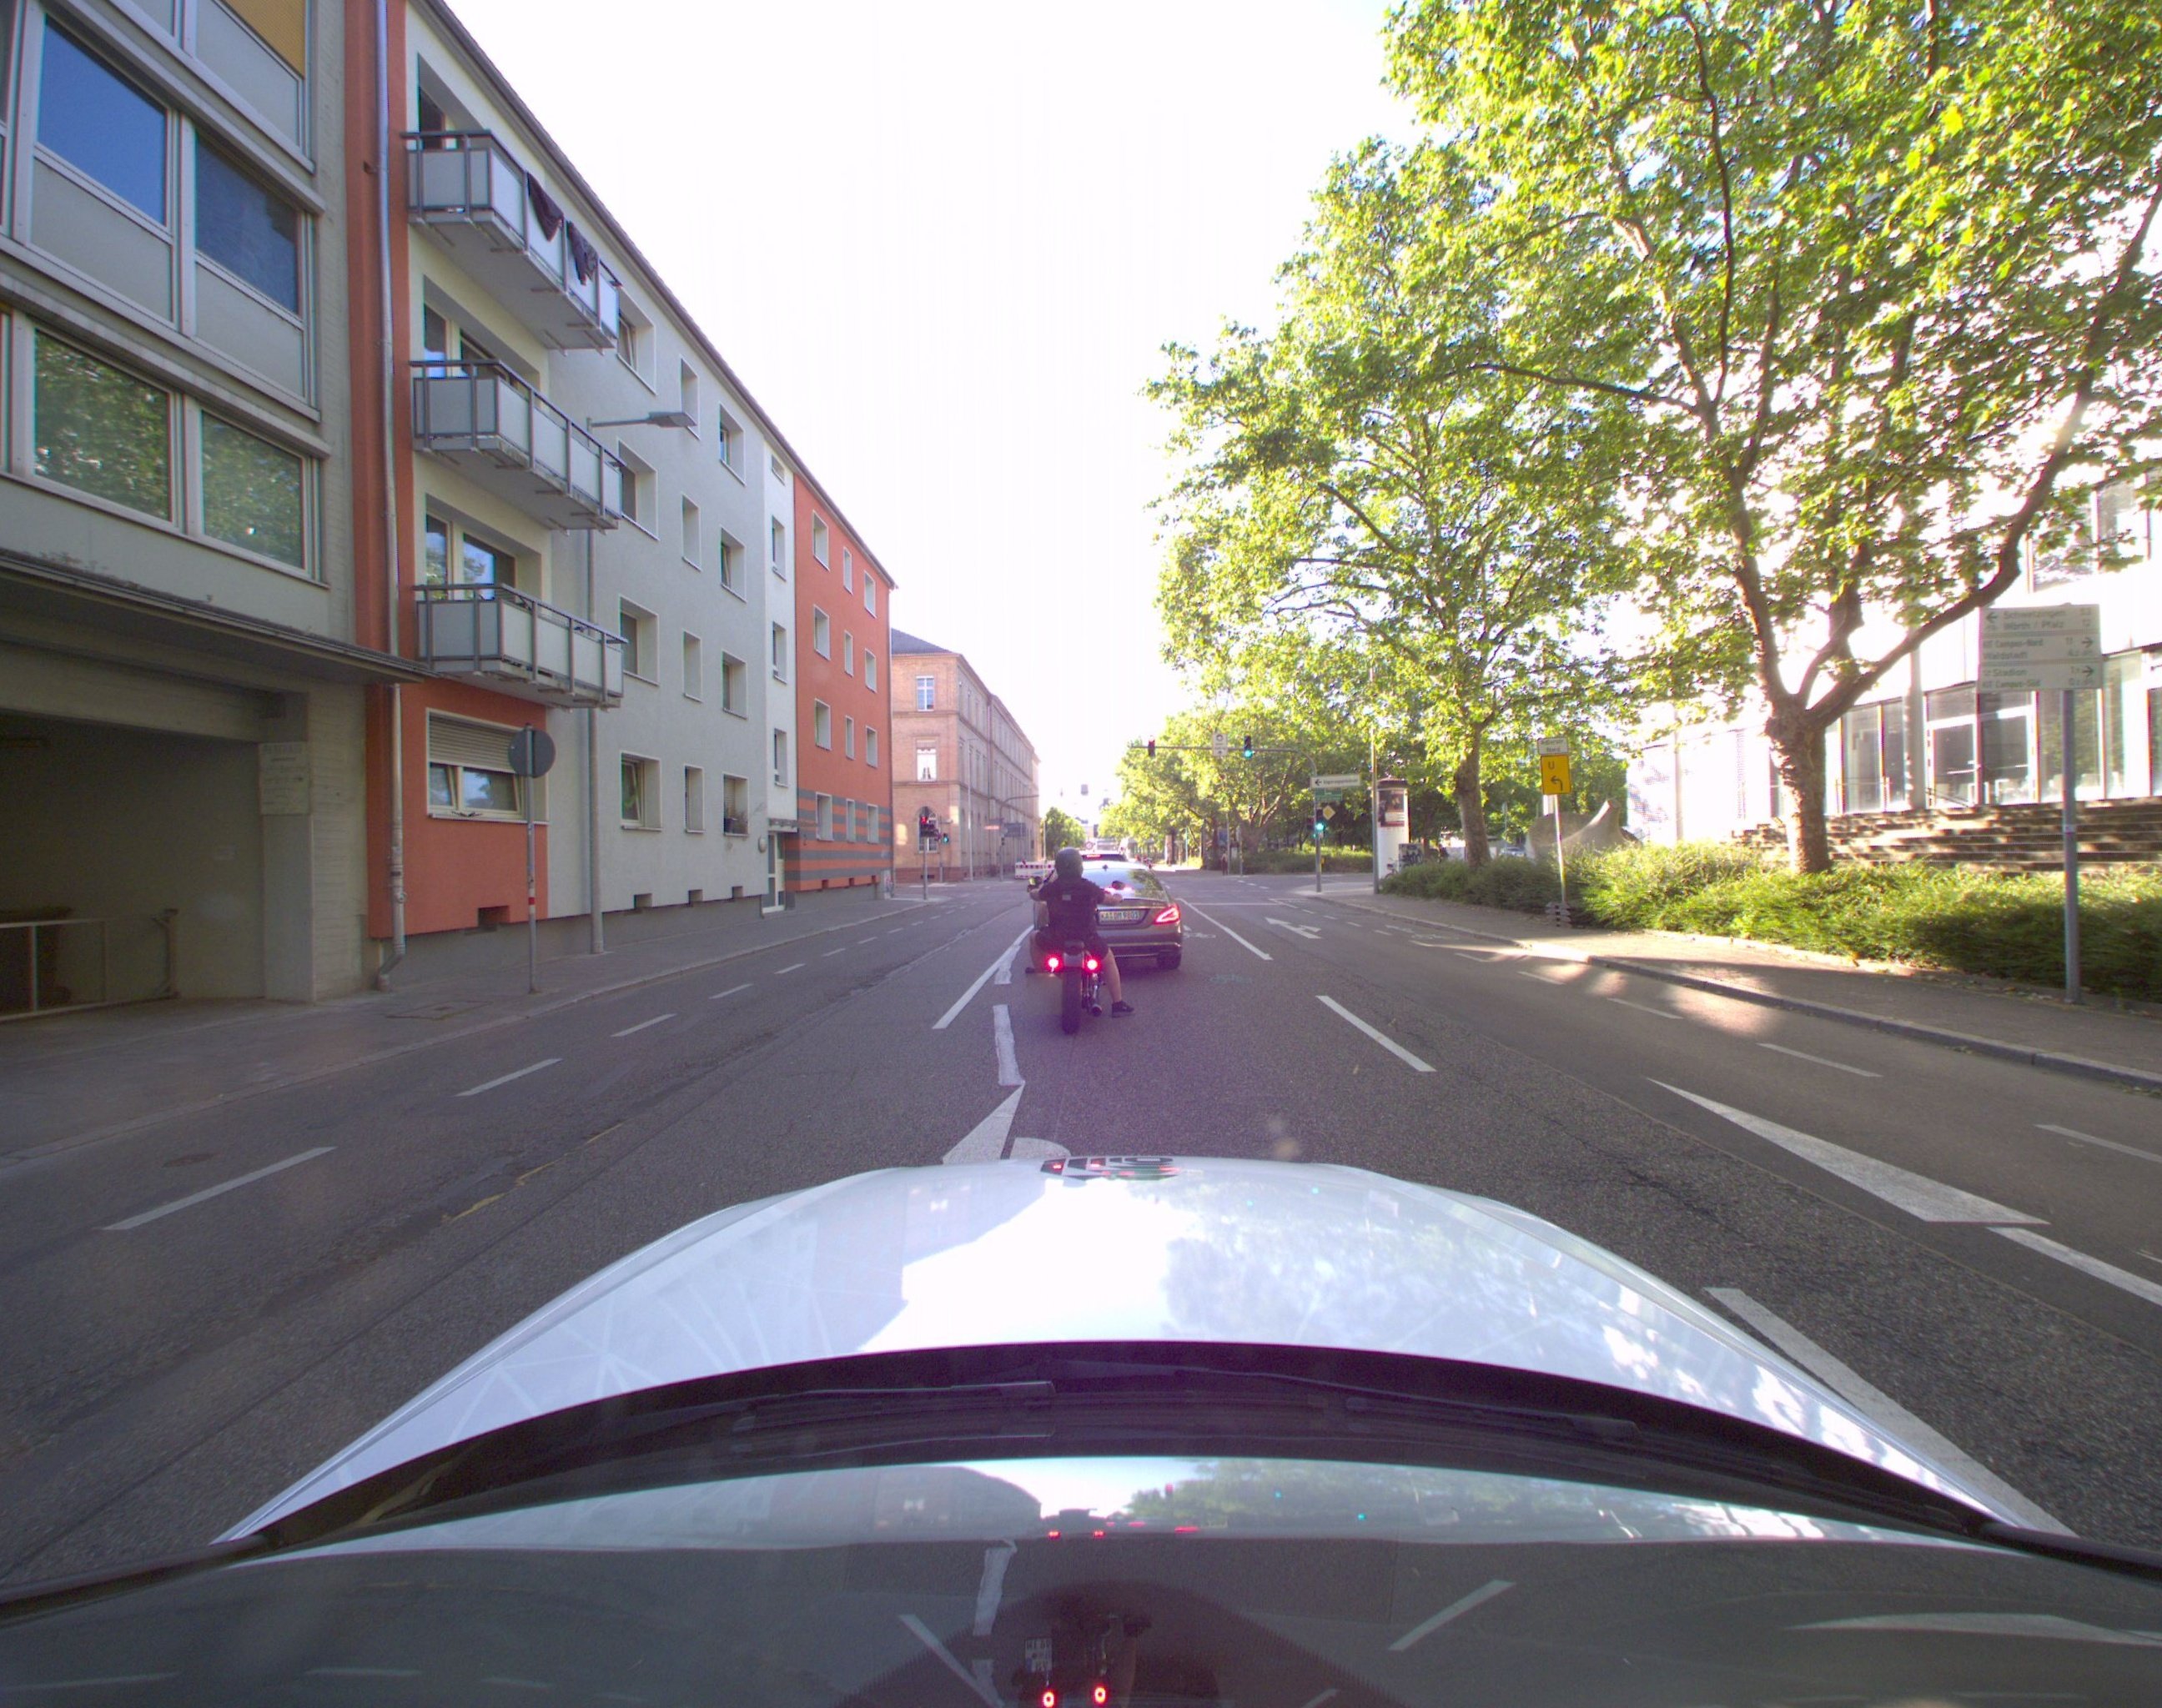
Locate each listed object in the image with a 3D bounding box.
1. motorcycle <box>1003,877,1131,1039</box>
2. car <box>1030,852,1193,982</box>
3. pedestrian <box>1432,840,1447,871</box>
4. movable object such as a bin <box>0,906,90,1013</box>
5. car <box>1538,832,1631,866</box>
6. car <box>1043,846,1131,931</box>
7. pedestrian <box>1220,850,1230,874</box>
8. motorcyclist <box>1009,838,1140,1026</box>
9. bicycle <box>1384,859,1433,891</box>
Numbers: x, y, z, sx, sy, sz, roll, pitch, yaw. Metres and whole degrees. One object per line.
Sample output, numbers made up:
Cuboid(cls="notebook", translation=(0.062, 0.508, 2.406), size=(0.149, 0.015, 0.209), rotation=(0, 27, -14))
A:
Cuboid(cls="motorcycle", translation=(-0.072, 0.871, 7.855), size=(1.003, 1.204, 2.666), rotation=(-1, 0, 2))
Cuboid(cls="car", translation=(0.240, 0.748, 11.784), size=(1.818, 1.476, 4.346), rotation=(-1, 0, -5))
Cuboid(cls="pedestrian", translation=(21.044, 0.069, 47.803), size=(0.617, 1.784, 0.631), rotation=(-1, 0, 4))
Cuboid(cls="movable object such as a bin", translation=(-11.267, 1.103, 8.656), size=(0.584, 1.040, 0.712), rotation=(-1, 0, 2))
Cuboid(cls="car", translation=(28.178, -0.261, 45.684), size=(3.975, 1.784, 2.004), rotation=(-1, 0, 7))
Cuboid(cls="car", translation=(0.133, 0.676, 17.748), size=(1.676, 1.625, 3.841), rotation=(-1, 0, 1))
Cuboid(cls="pedestrian", translation=(10.165, 0.538, 57.572), size=(0.557, 1.678, 0.565), rotation=(-1, 0, 1))
Cuboid(cls="motorcyclist", translation=(-0.040, 0.679, 7.682), size=(1.109, 1.613, 1.202), rotation=(-1, 0, 1))
Cuboid(cls="bicycle", translation=(10.982, 0.707, 27.329), size=(1.411, 1.037, 0.538), rotation=(-1, 0, -2))
